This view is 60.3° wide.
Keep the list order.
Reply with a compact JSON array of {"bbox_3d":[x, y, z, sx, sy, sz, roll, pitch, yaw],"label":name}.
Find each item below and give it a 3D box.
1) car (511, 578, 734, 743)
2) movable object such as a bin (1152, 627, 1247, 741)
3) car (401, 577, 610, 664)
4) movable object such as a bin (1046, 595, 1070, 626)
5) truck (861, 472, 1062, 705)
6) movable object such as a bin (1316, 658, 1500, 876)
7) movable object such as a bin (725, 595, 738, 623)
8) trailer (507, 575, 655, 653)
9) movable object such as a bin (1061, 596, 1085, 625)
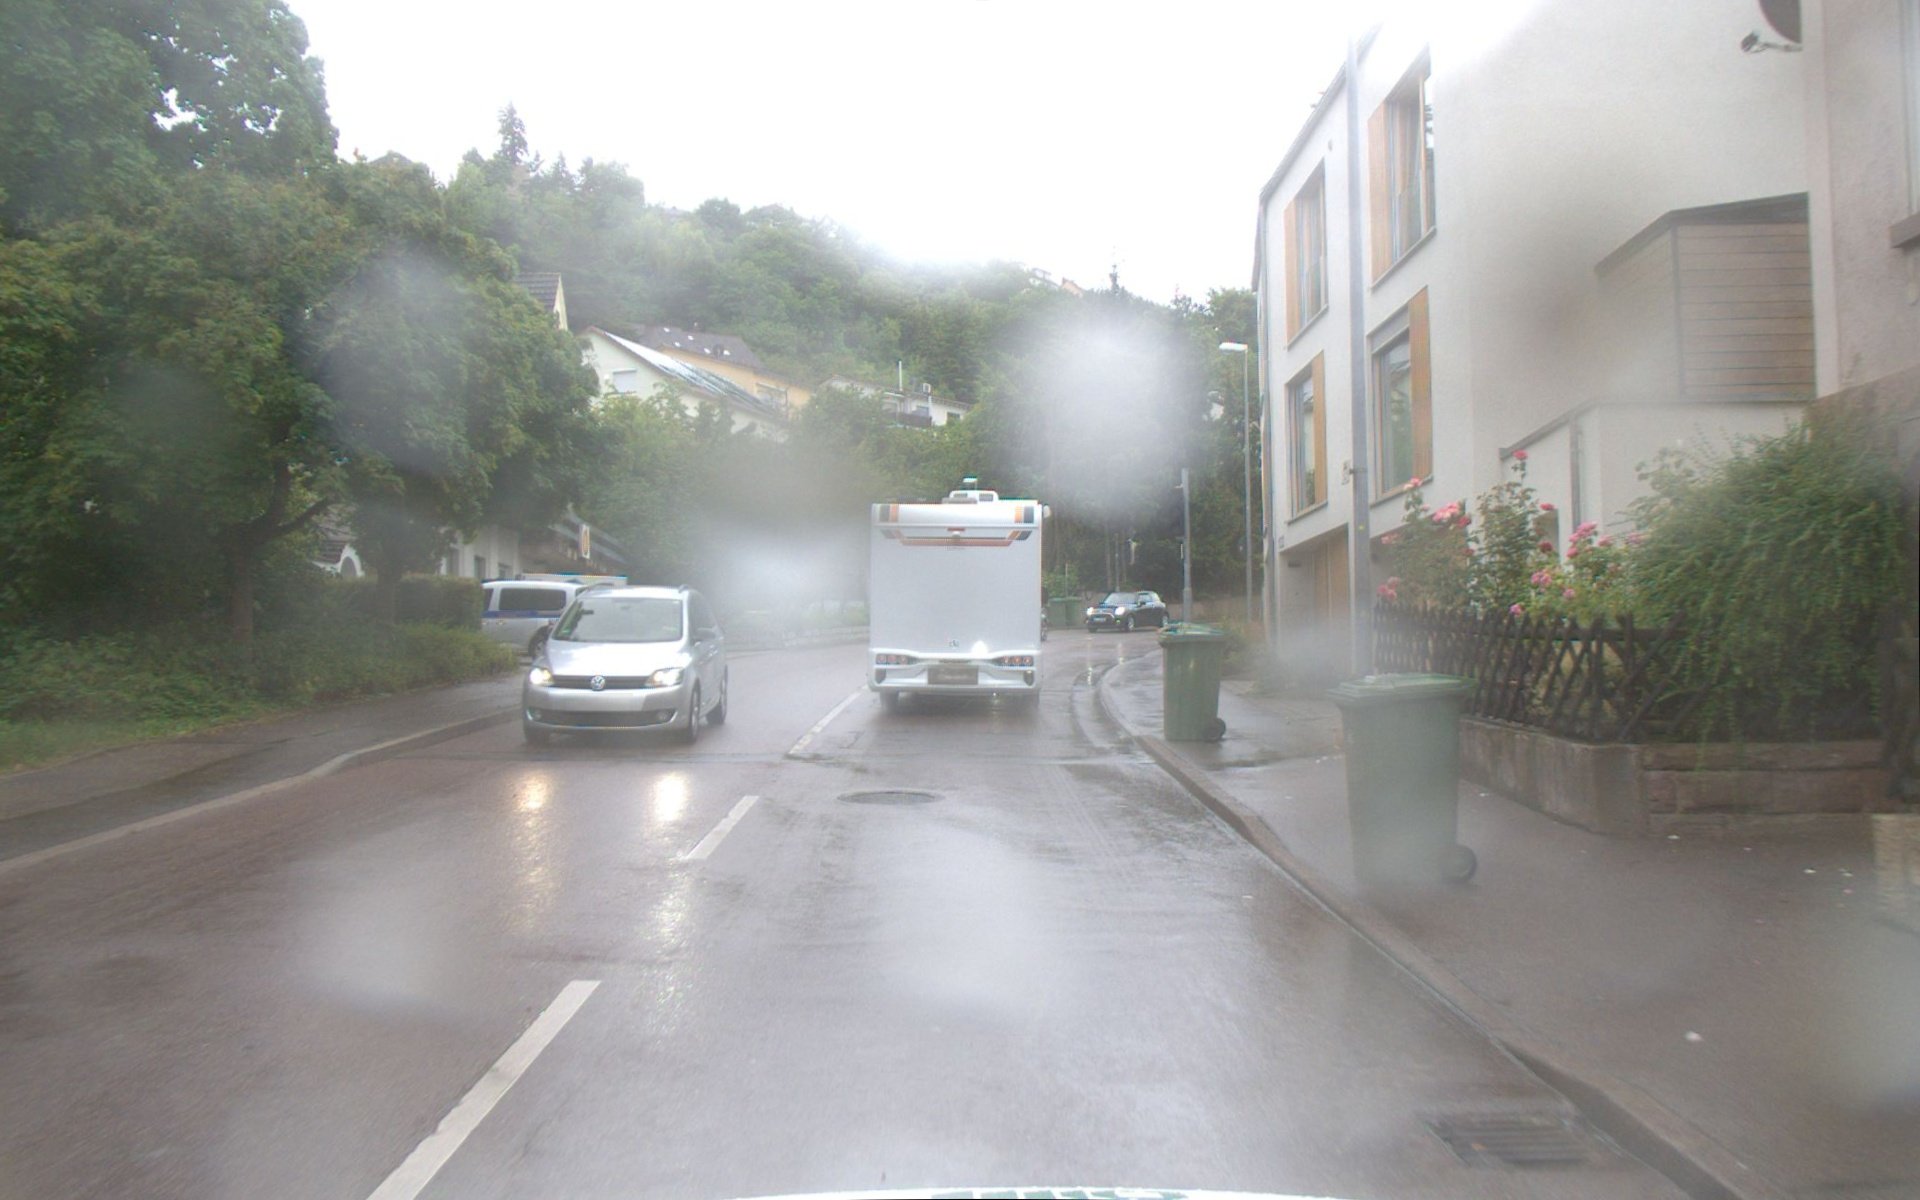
[{"bbox_3d":[-3.502,0.577,17.823,1.768,1.581,3.827,0,0,-3],"label":"car"},{"bbox_3d":[2.356,0.814,16.340,0.818,1.079,0.750,0,0,0],"label":"movable object such as a bin"},{"bbox_3d":[-9.968,0.439,36.508,4.021,1.831,2.000,0,0,1],"label":"car"},{"bbox_3d":[3.646,0.398,61.557,0.659,1.159,0.619,0,0,-31],"label":"movable object such as a bin"},{"bbox_3d":[0.025,-0.149,23.515,2.464,2.867,6.201,0,0,0],"label":"truck"},{"bbox_3d":[2.385,0.871,8.882,0.780,1.089,0.761,0,0,0],"label":"movable object such as a bin"},{"bbox_3d":[-8.727,0.333,63.166,0.340,1.064,0.389,0,0,11],"label":"movable object such as a bin"},{"bbox_3d":[-11.017,0.389,48.014,3.896,2.139,1.939,-1,-1,-24],"label":"trailer"},{"bbox_3d":[4.244,0.393,61.967,0.697,1.107,0.555,0,0,-31],"label":"movable object such as a bin"}]
